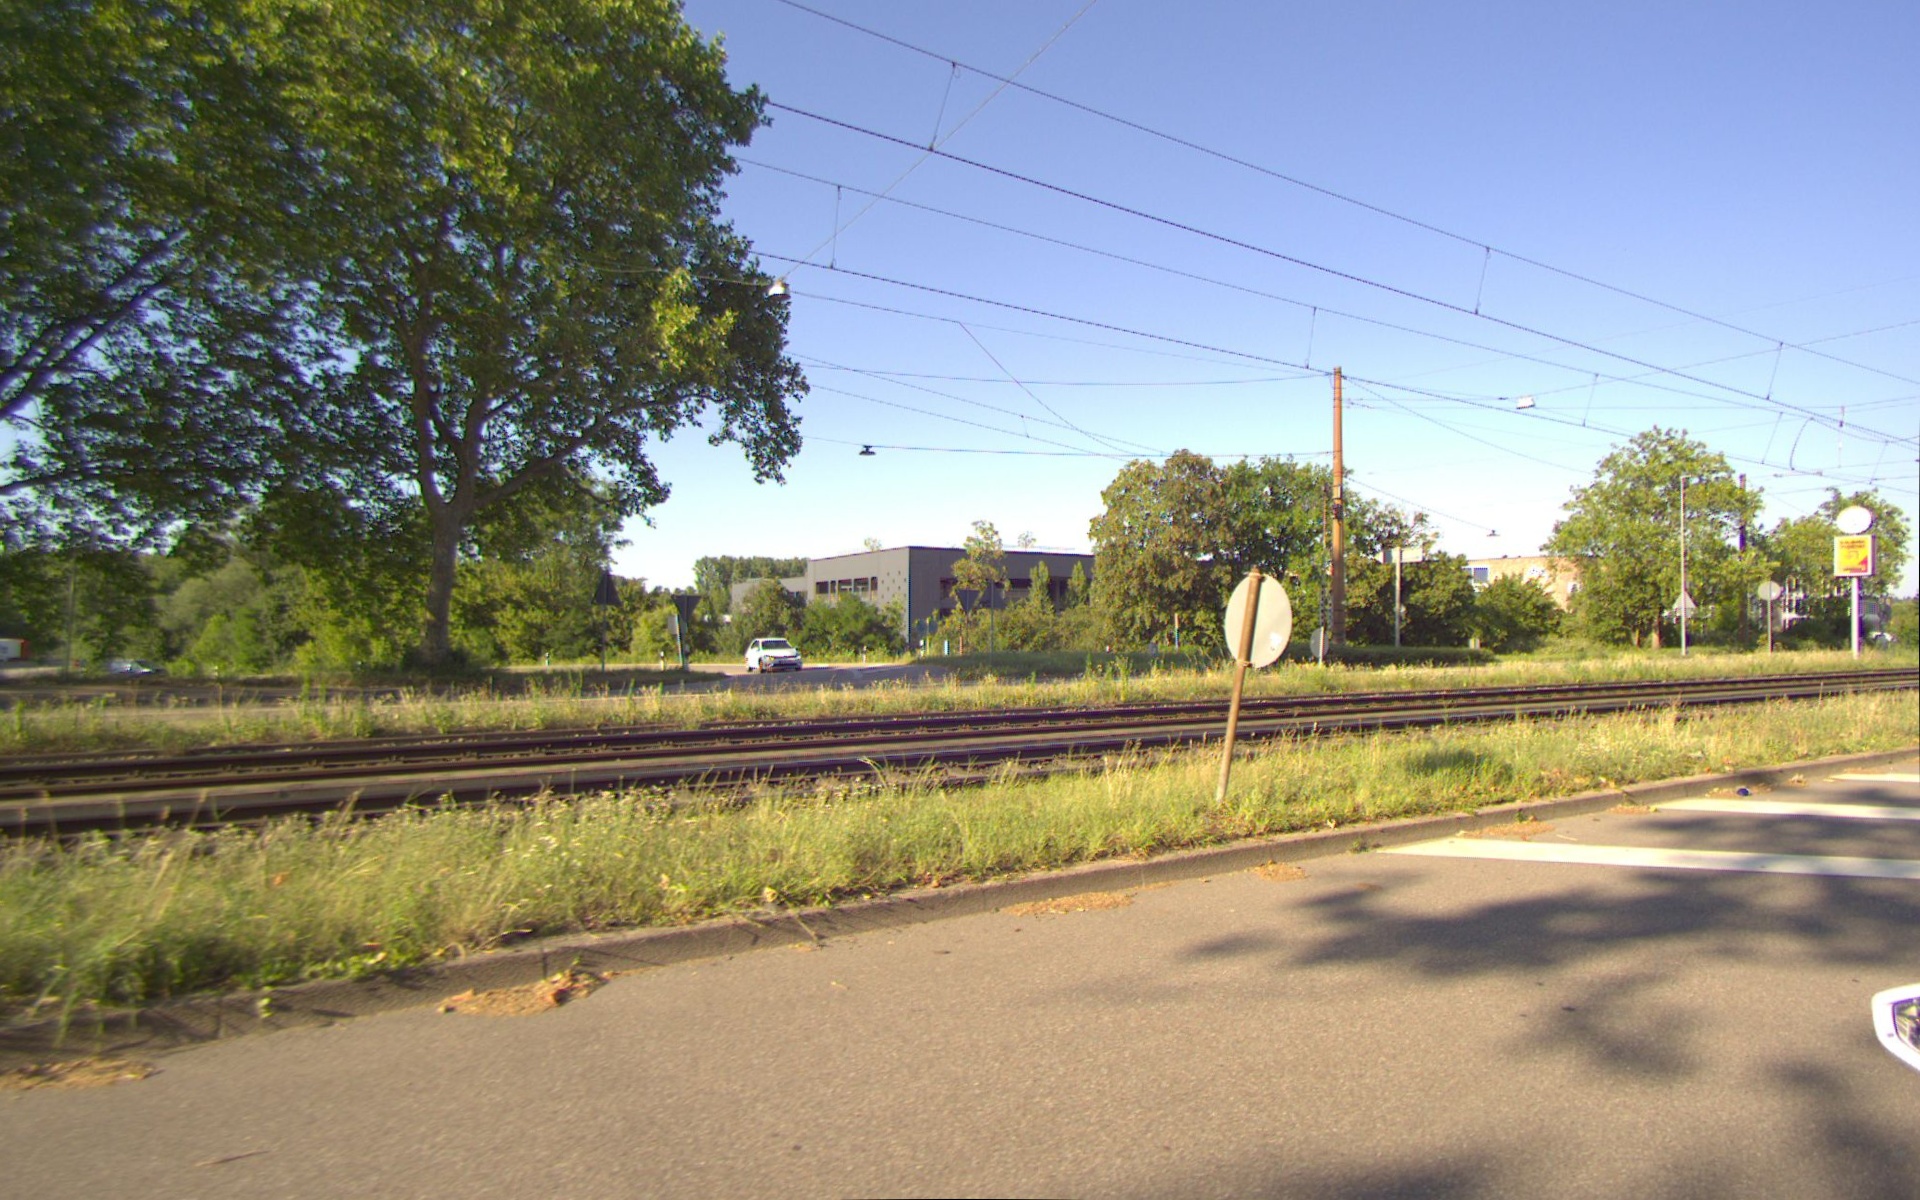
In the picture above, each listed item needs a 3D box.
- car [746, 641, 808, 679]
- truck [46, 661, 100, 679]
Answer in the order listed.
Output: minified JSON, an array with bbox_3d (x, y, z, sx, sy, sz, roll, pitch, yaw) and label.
[{"bbox_3d":[-8.032,2.577,43.827,1.636,1.545,4.248,3,-3,-24],"label":"car"},{"bbox_3d":[-79.887,6.352,90.462,4.043,1.544,1.660,-1,-5,15],"label":"truck"}]
